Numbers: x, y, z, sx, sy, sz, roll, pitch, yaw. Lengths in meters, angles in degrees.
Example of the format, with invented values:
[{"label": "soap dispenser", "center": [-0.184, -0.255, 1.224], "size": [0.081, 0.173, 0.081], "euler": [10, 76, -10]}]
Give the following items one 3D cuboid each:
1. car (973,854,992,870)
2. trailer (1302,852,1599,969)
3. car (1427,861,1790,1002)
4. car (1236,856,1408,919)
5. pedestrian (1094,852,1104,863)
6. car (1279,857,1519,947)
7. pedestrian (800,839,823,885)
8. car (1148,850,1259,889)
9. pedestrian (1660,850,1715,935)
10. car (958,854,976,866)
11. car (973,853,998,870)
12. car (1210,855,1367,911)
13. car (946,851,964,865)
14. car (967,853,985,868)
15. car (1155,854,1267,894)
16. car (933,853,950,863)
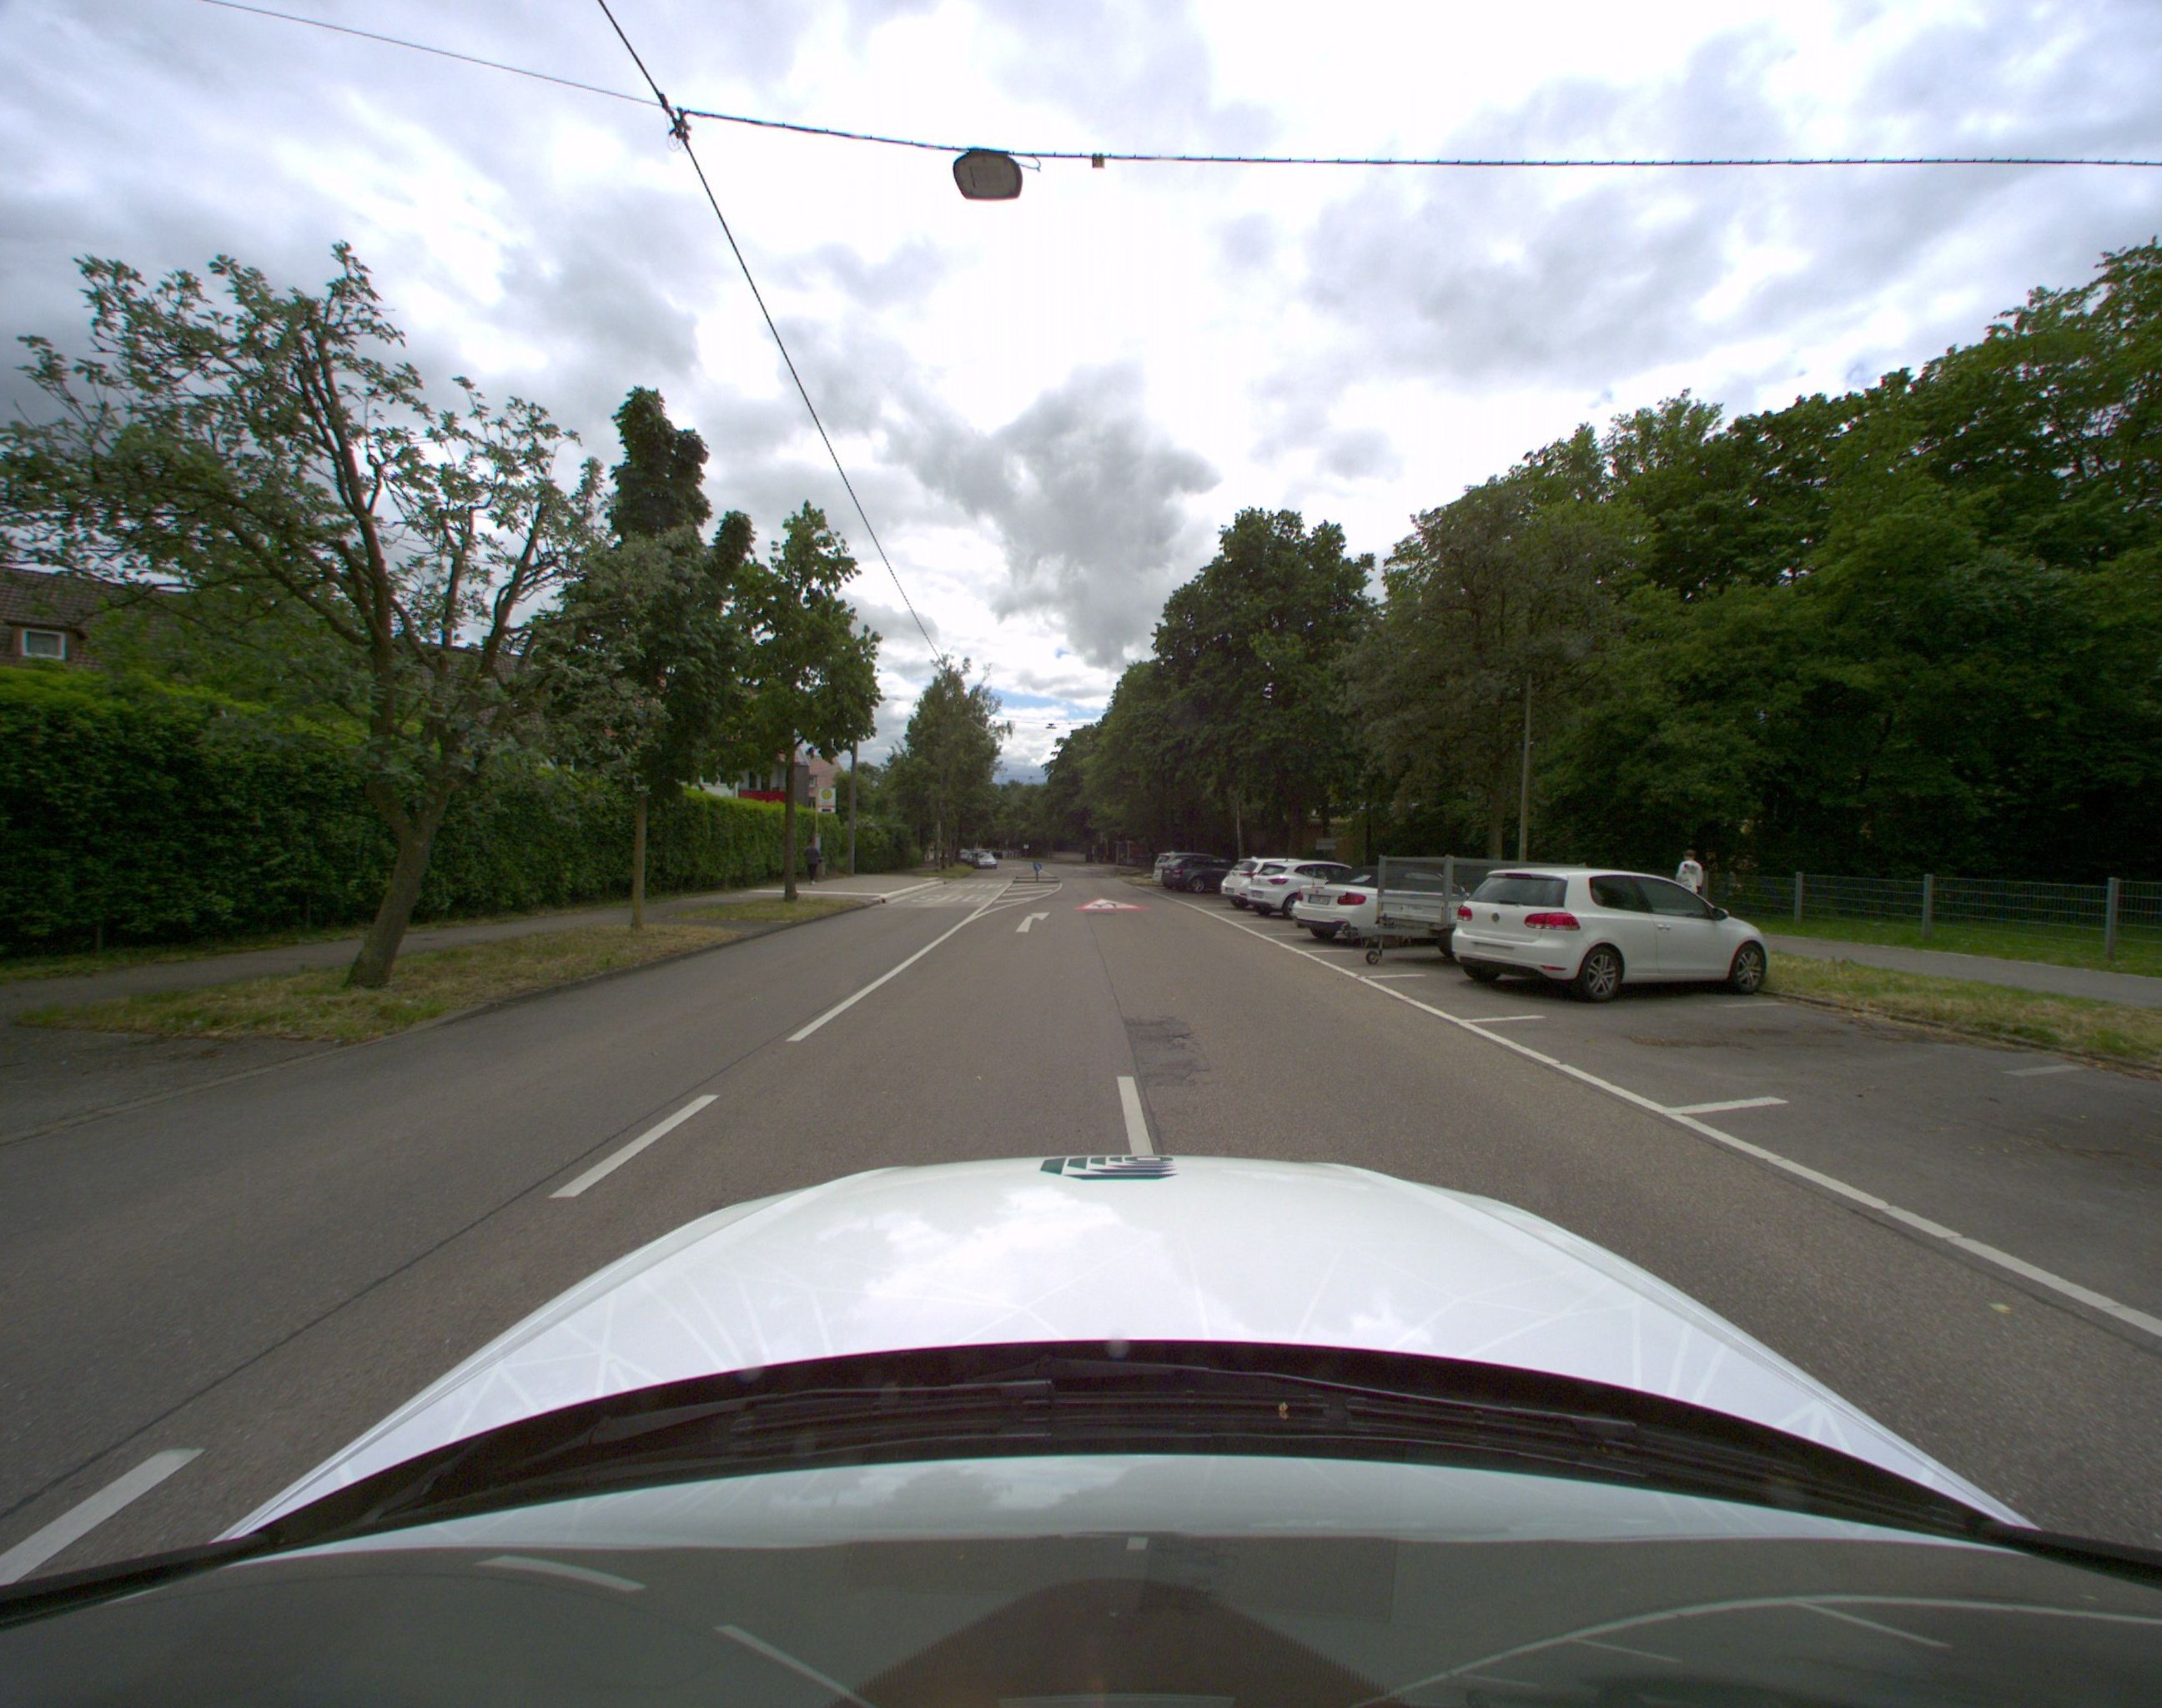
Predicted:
[{"label": "car", "center": [-9.931, 0.740, 81.710], "size": [1.735, 1.538, 4.177], "euler": [-1, 0, -8]}, {"label": "trailer", "center": [5.510, 0.775, 12.214], "size": [3.997, 1.552, 1.649], "euler": [1, 0, -18]}, {"label": "car", "center": [6.530, 0.879, 10.117], "size": [4.001, 1.464, 1.779], "euler": [2, -1, -21]}, {"label": "car", "center": [6.146, 0.841, 20.780], "size": [4.005, 1.464, 1.782], "euler": [2, -1, -24]}, {"label": "pedestrian", "center": [2.016, 0.401, 90.910], "size": [1.065, 1.182, 0.577], "euler": [0, 0, -14]}, {"label": "car", "center": [5.852, 0.852, 15.005], "size": [4.005, 1.464, 1.836], "euler": [2, -1, -24]}, {"label": "pedestrian", "center": [-10.339, 0.305, 31.262], "size": [0.691, 1.711, 0.776], "euler": [1, 0, -8]}, {"label": "car", "center": [5.396, 0.690, 36.067], "size": [4.471, 1.585, 1.899], "euler": [2, -1, -12]}, {"label": "pedestrian", "center": [12.176, 0.748, 16.372], "size": [0.686, 1.644, 0.782], "euler": [1, 0, 20]}, {"label": "car", "center": [-14.652, 0.748, 104.423], "size": [1.869, 1.538, 4.206], "euler": [0, 0, -14]}, {"label": "car", "center": [-8.908, 0.676, 75.786], "size": [1.738, 1.416, 4.450], "euler": [-1, 0, -14]}, {"label": "car", "center": [5.949, 0.812, 23.417], "size": [3.996, 1.464, 1.855], "euler": [2, -1, -17]}, {"label": "car", "center": [-17.638, 0.588, 114.140], "size": [1.862, 1.909, 5.055], "euler": [0, 0, -16]}, {"label": "car", "center": [-12.053, 0.724, 93.555], "size": [1.736, 1.578, 4.125], "euler": [-1, 0, -11]}, {"label": "car", "center": [5.276, 0.801, 33.306], "size": [4.138, 1.464, 1.790], "euler": [2, -1, -14]}, {"label": "car", "center": [-22.186, 0.606, 129.788], "size": [1.811, 1.563, 4.237], "euler": [-3, 1, -21]}]
